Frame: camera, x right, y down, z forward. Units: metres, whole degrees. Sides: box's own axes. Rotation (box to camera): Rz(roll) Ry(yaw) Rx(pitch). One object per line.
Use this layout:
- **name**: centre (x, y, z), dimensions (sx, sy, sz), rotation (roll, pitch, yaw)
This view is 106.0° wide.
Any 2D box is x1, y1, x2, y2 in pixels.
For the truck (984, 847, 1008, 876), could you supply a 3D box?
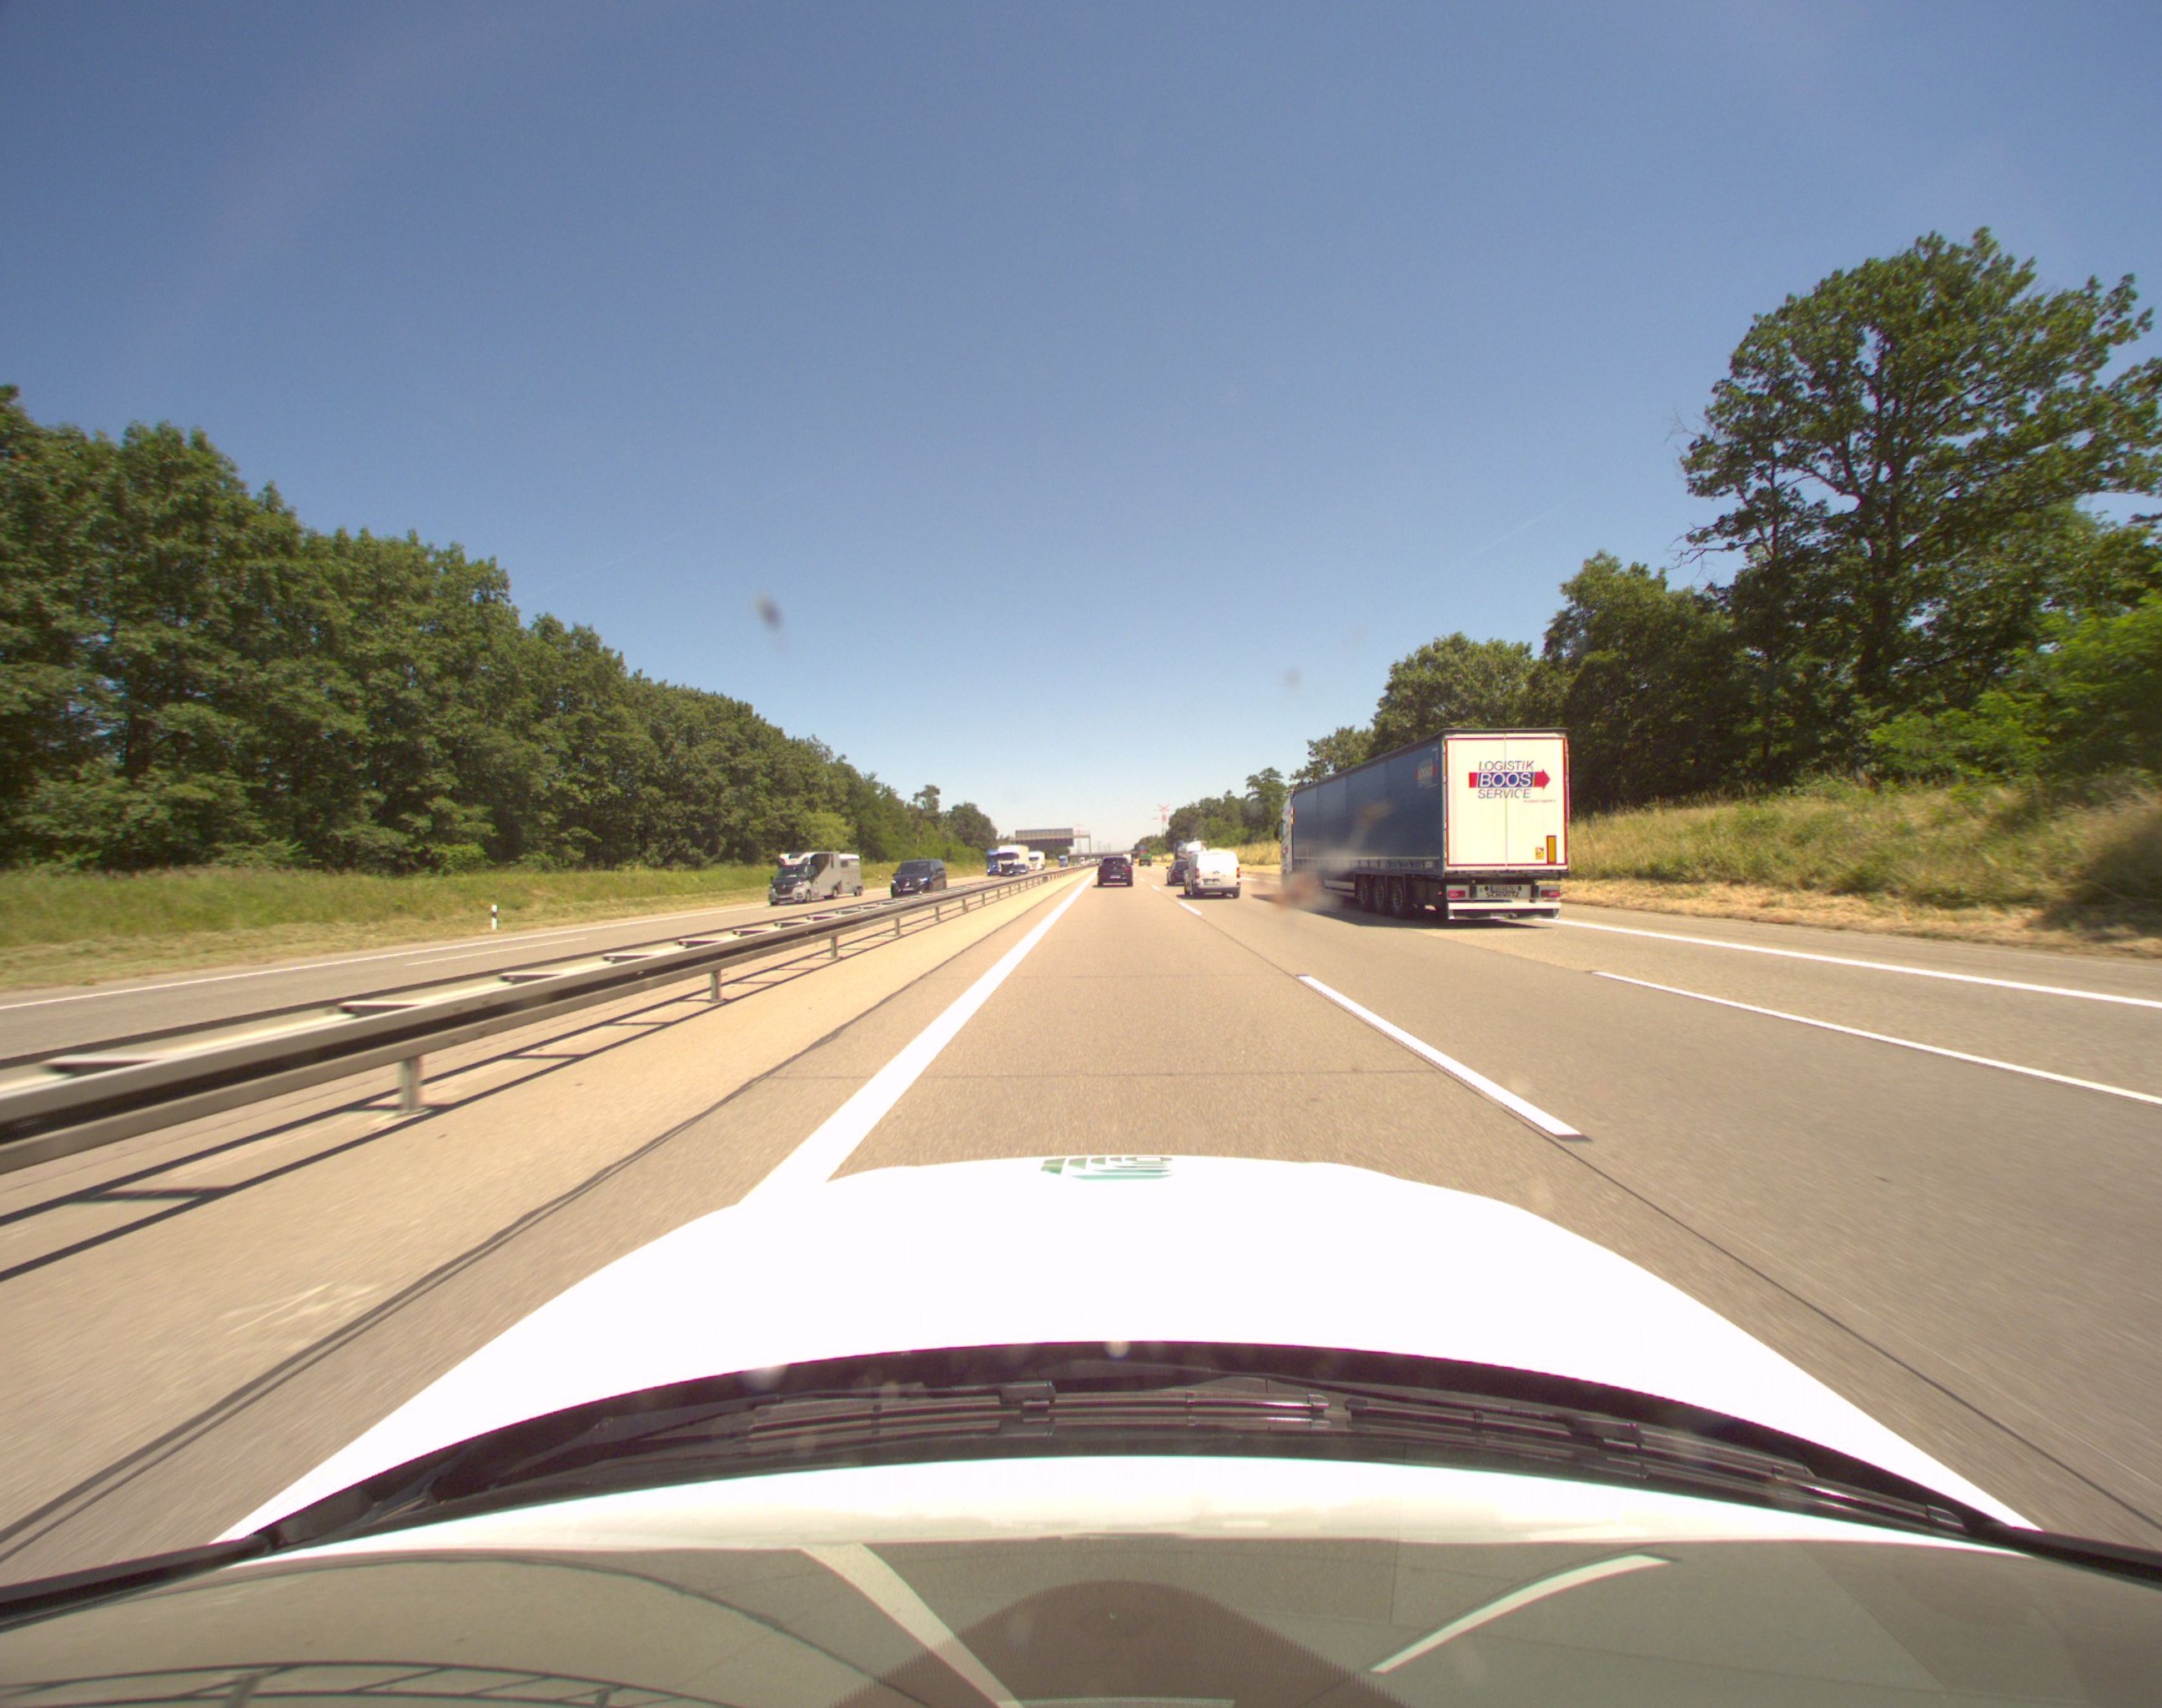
- **truck**: centre (-13.047, 1.113, 125.955), dimensions (2.659, 4.169, 6.190), rotation (-4, 0, 1)

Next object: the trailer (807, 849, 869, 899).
- **trailer**: centre (-15.118, 1.213, 50.914), dimensions (2.205, 2.857, 4.586), rotation (-4, 0, 1)

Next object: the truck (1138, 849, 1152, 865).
- **truck**: centre (15.047, 0.763, 192.028), dimensions (2.978, 3.728, 10.092), rotation (0, -1, 1)

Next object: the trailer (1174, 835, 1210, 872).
- **trailer**: centre (12.061, -0.009, 89.362), dimensions (2.673, 3.837, 12.013), rotation (0, -1, 2)

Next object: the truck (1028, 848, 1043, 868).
- **truck**: centre (-10.033, 0.987, 180.471), dimensions (2.692, 4.186, 6.190), rotation (-4, 0, 1)

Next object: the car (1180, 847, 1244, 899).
- **car**: centre (5.106, 0.718, 32.442), dimensions (1.808, 1.827, 5.112), rotation (-2, -1, 1)

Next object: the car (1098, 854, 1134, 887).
- **car**: centre (1.971, 0.891, 47.167), dimensions (1.933, 1.752, 5.814), rotation (-1, 0, 1)

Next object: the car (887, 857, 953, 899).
- **car**: centre (-7.973, 1.142, 40.887), dimensions (1.869, 1.847, 5.836), rotation (-4, 0, 2)

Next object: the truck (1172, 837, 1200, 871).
- **truck**: centre (12.226, 0.053, 95.107), dimensions (2.673, 3.837, 4.445), rotation (0, -1, 1)

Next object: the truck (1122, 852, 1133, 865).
- **truck**: centre (10.672, 1.096, 187.580), dimensions (2.053, 2.914, 7.005), rotation (-2, -1, 1)

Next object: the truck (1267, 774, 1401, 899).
- **truck**: centre (9.267, -0.560, 30.598), dimensions (3.274, 4.219, 6.009), rotation (0, -1, 1)

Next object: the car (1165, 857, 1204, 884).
- **car**: centre (5.889, 0.914, 46.673), dimensions (1.768, 1.472, 3.873), rotation (-2, -1, 1)

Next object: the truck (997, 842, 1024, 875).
- **truck**: centre (-9.084, 0.608, 105.516), dimensions (2.659, 3.990, 6.342), rotation (-4, 0, 1)

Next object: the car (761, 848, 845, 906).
- **car**: centre (-15.318, 1.200, 45.386), dimensions (2.205, 2.857, 6.455), rotation (-4, 0, 1)

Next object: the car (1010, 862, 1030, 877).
- **car**: centre (-6.463, 1.641, 86.392), dimensions (1.611, 1.482, 4.626), rotation (-4, 0, 1)

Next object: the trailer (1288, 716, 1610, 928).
- **trailer**: centre (9.069, -0.585, 23.036), dimensions (3.274, 4.219, 13.568), rotation (0, -1, 1)
